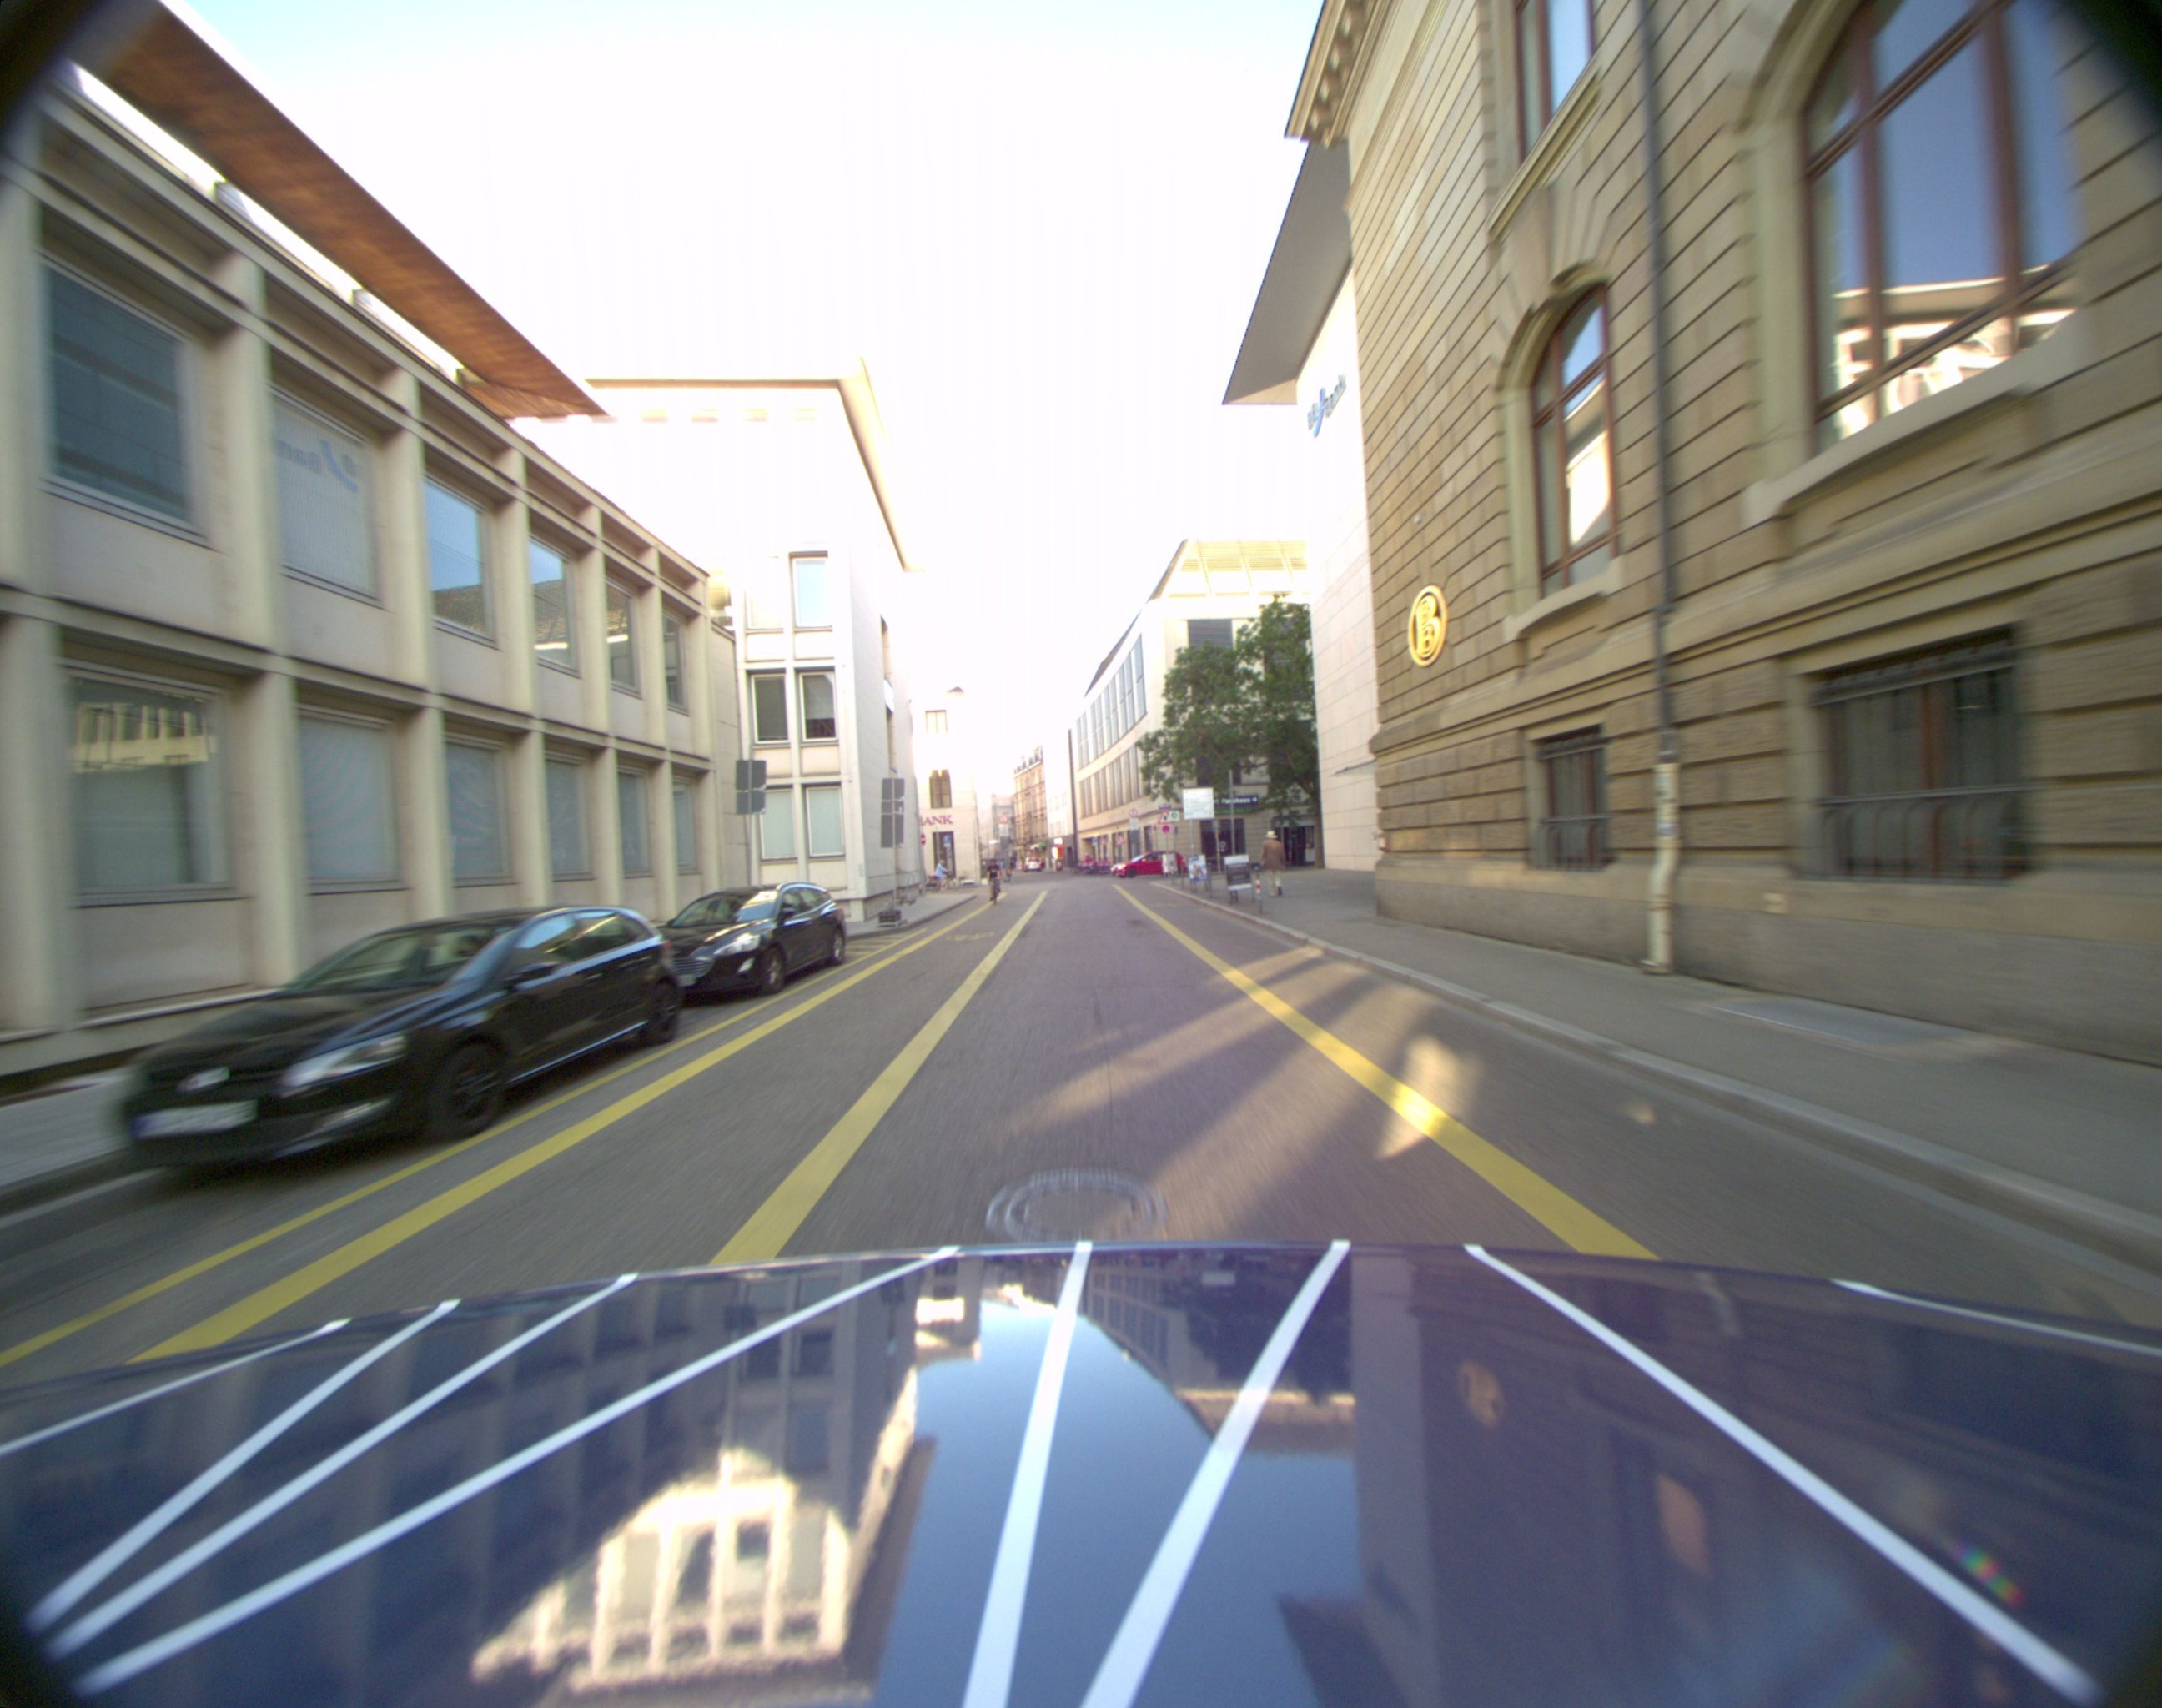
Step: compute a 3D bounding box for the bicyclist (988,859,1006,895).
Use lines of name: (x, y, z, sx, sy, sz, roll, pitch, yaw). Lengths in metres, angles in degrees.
bicyclist: (-3.104, 0.855, 28.047, 0.538, 1.281, 0.551, -4, 1, -1)

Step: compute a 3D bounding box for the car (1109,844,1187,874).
car: (3.944, 0.304, 44.873, 4.272, 1.462, 1.631, -4, 1, -13)

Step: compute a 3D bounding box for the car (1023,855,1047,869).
car: (-5.363, 0.917, 88.386, 2.056, 1.482, 4.267, -4, 0, -11)

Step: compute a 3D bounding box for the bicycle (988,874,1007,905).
bicycle: (-3.069, 1.295, 27.982, 0.535, 1.060, 1.425, -4, 1, -2)

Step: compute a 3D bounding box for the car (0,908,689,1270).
car: (-4.765, 1.300, 5.686, 1.632, 1.391, 3.885, -4, 0, -2)

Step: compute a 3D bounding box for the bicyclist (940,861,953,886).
bicyclist: (-7.265, 1.039, 41.095, 0.613, 1.281, 0.538, -4, 1, -8)

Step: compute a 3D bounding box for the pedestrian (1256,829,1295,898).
pedestrian: (5.209, 0.240, 20.361, 0.765, 1.769, 0.622, -4, 1, 1)

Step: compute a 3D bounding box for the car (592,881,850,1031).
car: (-4.865, 1.272, 11.053, 1.698, 1.483, 4.254, -4, 0, -1)

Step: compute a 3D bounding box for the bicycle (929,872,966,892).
bicycle: (-7.231, 1.499, 41.101, 1.873, 0.905, 0.535, -4, 1, -7)
